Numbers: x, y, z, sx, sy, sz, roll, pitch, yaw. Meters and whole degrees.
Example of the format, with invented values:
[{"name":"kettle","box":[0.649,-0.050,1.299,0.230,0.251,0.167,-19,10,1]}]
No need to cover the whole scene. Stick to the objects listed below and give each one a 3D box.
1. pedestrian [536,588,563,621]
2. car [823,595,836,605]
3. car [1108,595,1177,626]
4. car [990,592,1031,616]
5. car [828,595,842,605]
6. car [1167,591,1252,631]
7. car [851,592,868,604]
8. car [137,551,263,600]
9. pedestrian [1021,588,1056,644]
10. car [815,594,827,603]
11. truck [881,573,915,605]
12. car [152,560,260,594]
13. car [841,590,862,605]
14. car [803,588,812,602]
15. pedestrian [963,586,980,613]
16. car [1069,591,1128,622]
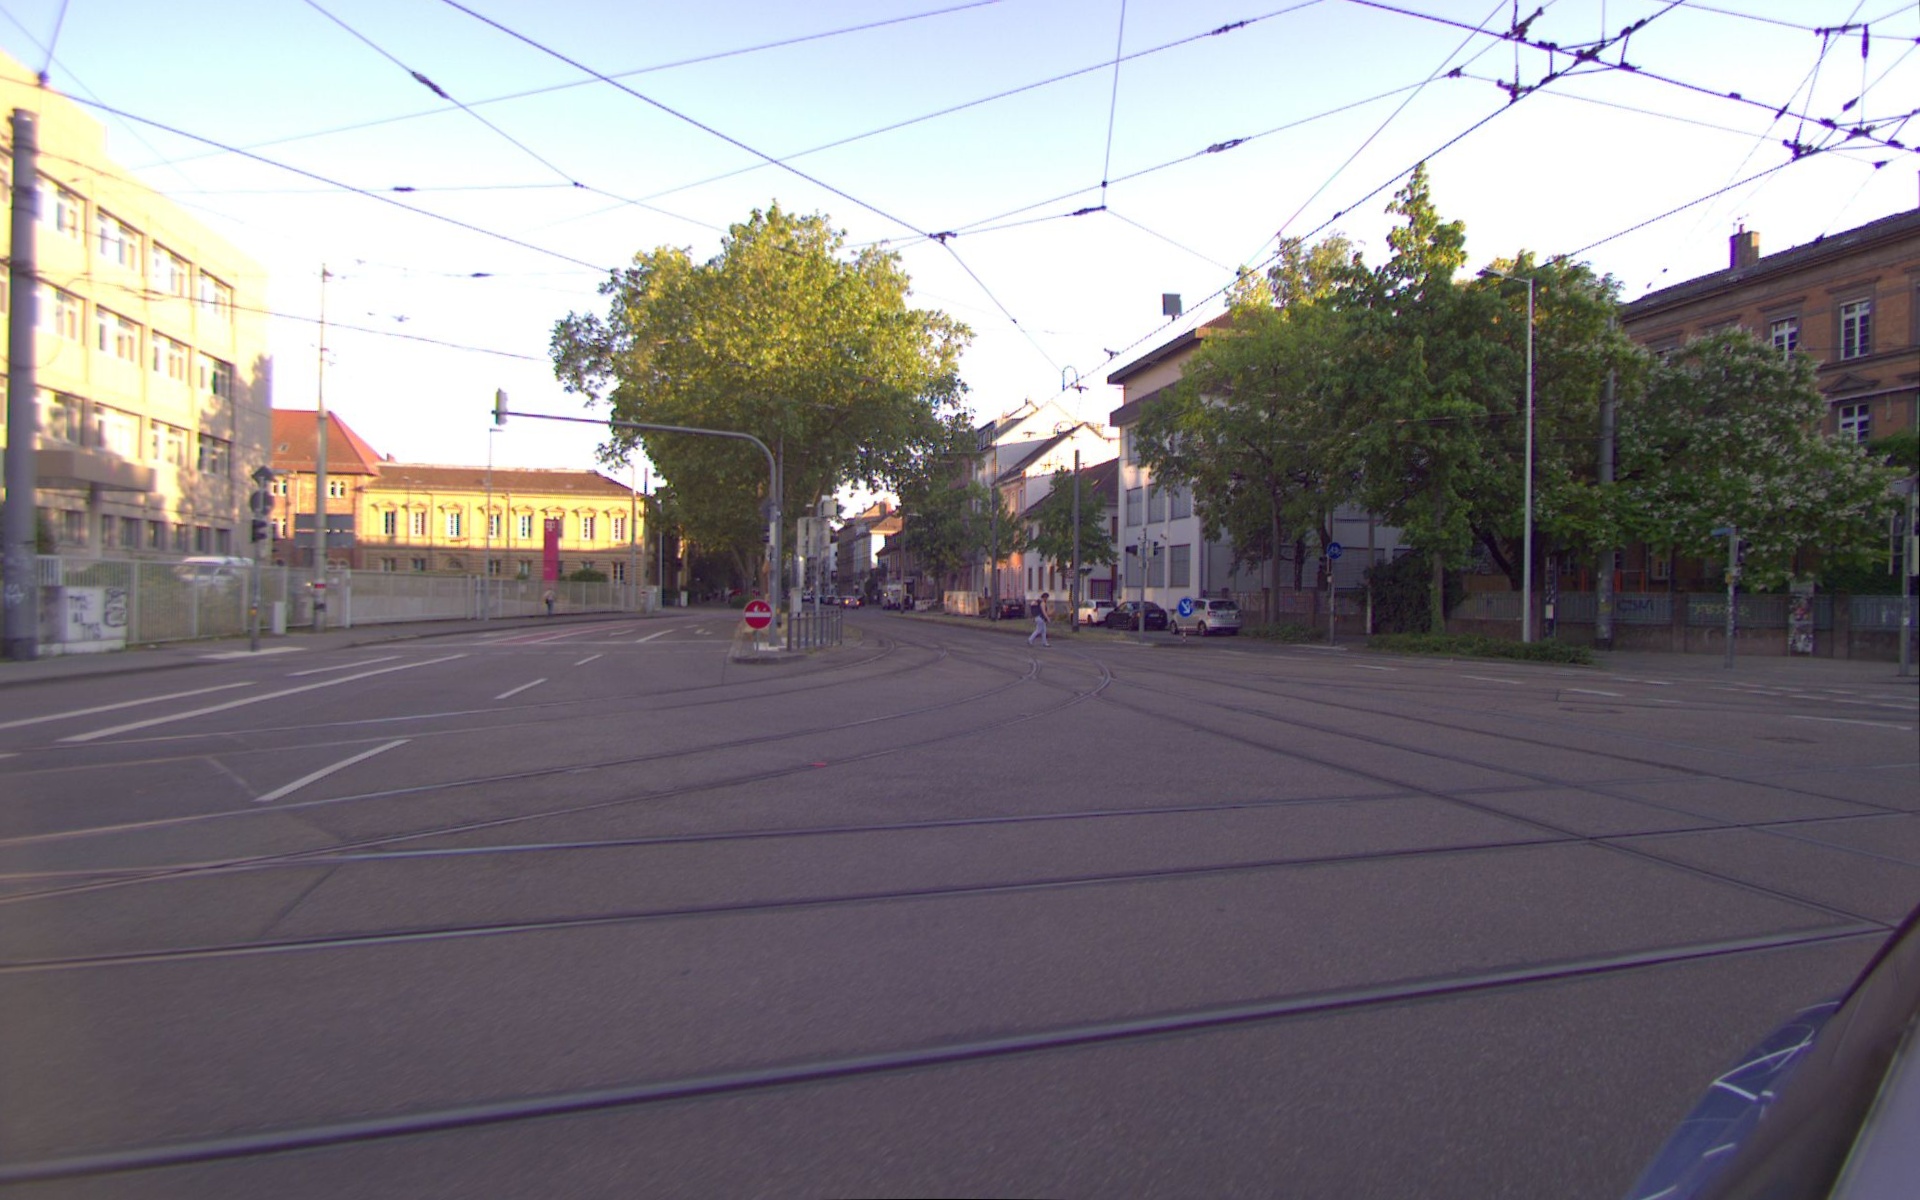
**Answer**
[{"name":"pedestrian","box":[-21.523,0.205,53.028,1.055,1.699,0.874,0,0,35]},{"name":"car","box":[-23.166,0.045,179.662,1.958,1.666,4.008,0,0,-12]},{"name":"car","box":[8.862,0.483,49.463,1.875,1.382,4.008,-1,1,-13]},{"name":"car","box":[3.541,0.243,71.515,1.875,1.571,4.008,-1,1,-13]},{"name":"car","box":[-20.646,0.009,167.572,1.958,1.666,4.008,0,0,-12]},{"name":"car","box":[10.536,0.442,42.973,1.875,1.571,4.008,-1,1,-13]},{"name":"car","box":[-14.549,-0.336,146.497,1.958,1.666,4.008,0,0,-12]},{"name":"car","box":[-31.212,-0.972,41.780,2.227,1.897,5.105,0,1,-12]},{"name":"pedestrian","box":[2.350,0.468,30.257,0.812,1.636,0.757,0,0,-17]},{"name":"car","box":[-26.760,-0.330,195.326,1.958,1.666,4.008,0,0,-12]},{"name":"truck","box":[-7.051,-1.204,113.879,3.139,3.499,8.877,0,0,-8]},{"name":"car","box":[-37.656,-1.122,50.634,3.917,1.636,1.836,0,-1,-9]},{"name":"car","box":[-12.420,-0.338,115.918,1.958,1.666,4.007,0,0,-11]},{"name":"car","box":[-35.698,-1.147,236.784,1.958,3.232,5.273,0,0,-12]},{"name":"pedestrian","box":[0.895,-0.048,78.848,1.144,2.039,0.887,0,0,23]},{"name":"car","box":[7.518,0.343,55.343,1.875,1.571,4.008,-1,1,-13]}]
